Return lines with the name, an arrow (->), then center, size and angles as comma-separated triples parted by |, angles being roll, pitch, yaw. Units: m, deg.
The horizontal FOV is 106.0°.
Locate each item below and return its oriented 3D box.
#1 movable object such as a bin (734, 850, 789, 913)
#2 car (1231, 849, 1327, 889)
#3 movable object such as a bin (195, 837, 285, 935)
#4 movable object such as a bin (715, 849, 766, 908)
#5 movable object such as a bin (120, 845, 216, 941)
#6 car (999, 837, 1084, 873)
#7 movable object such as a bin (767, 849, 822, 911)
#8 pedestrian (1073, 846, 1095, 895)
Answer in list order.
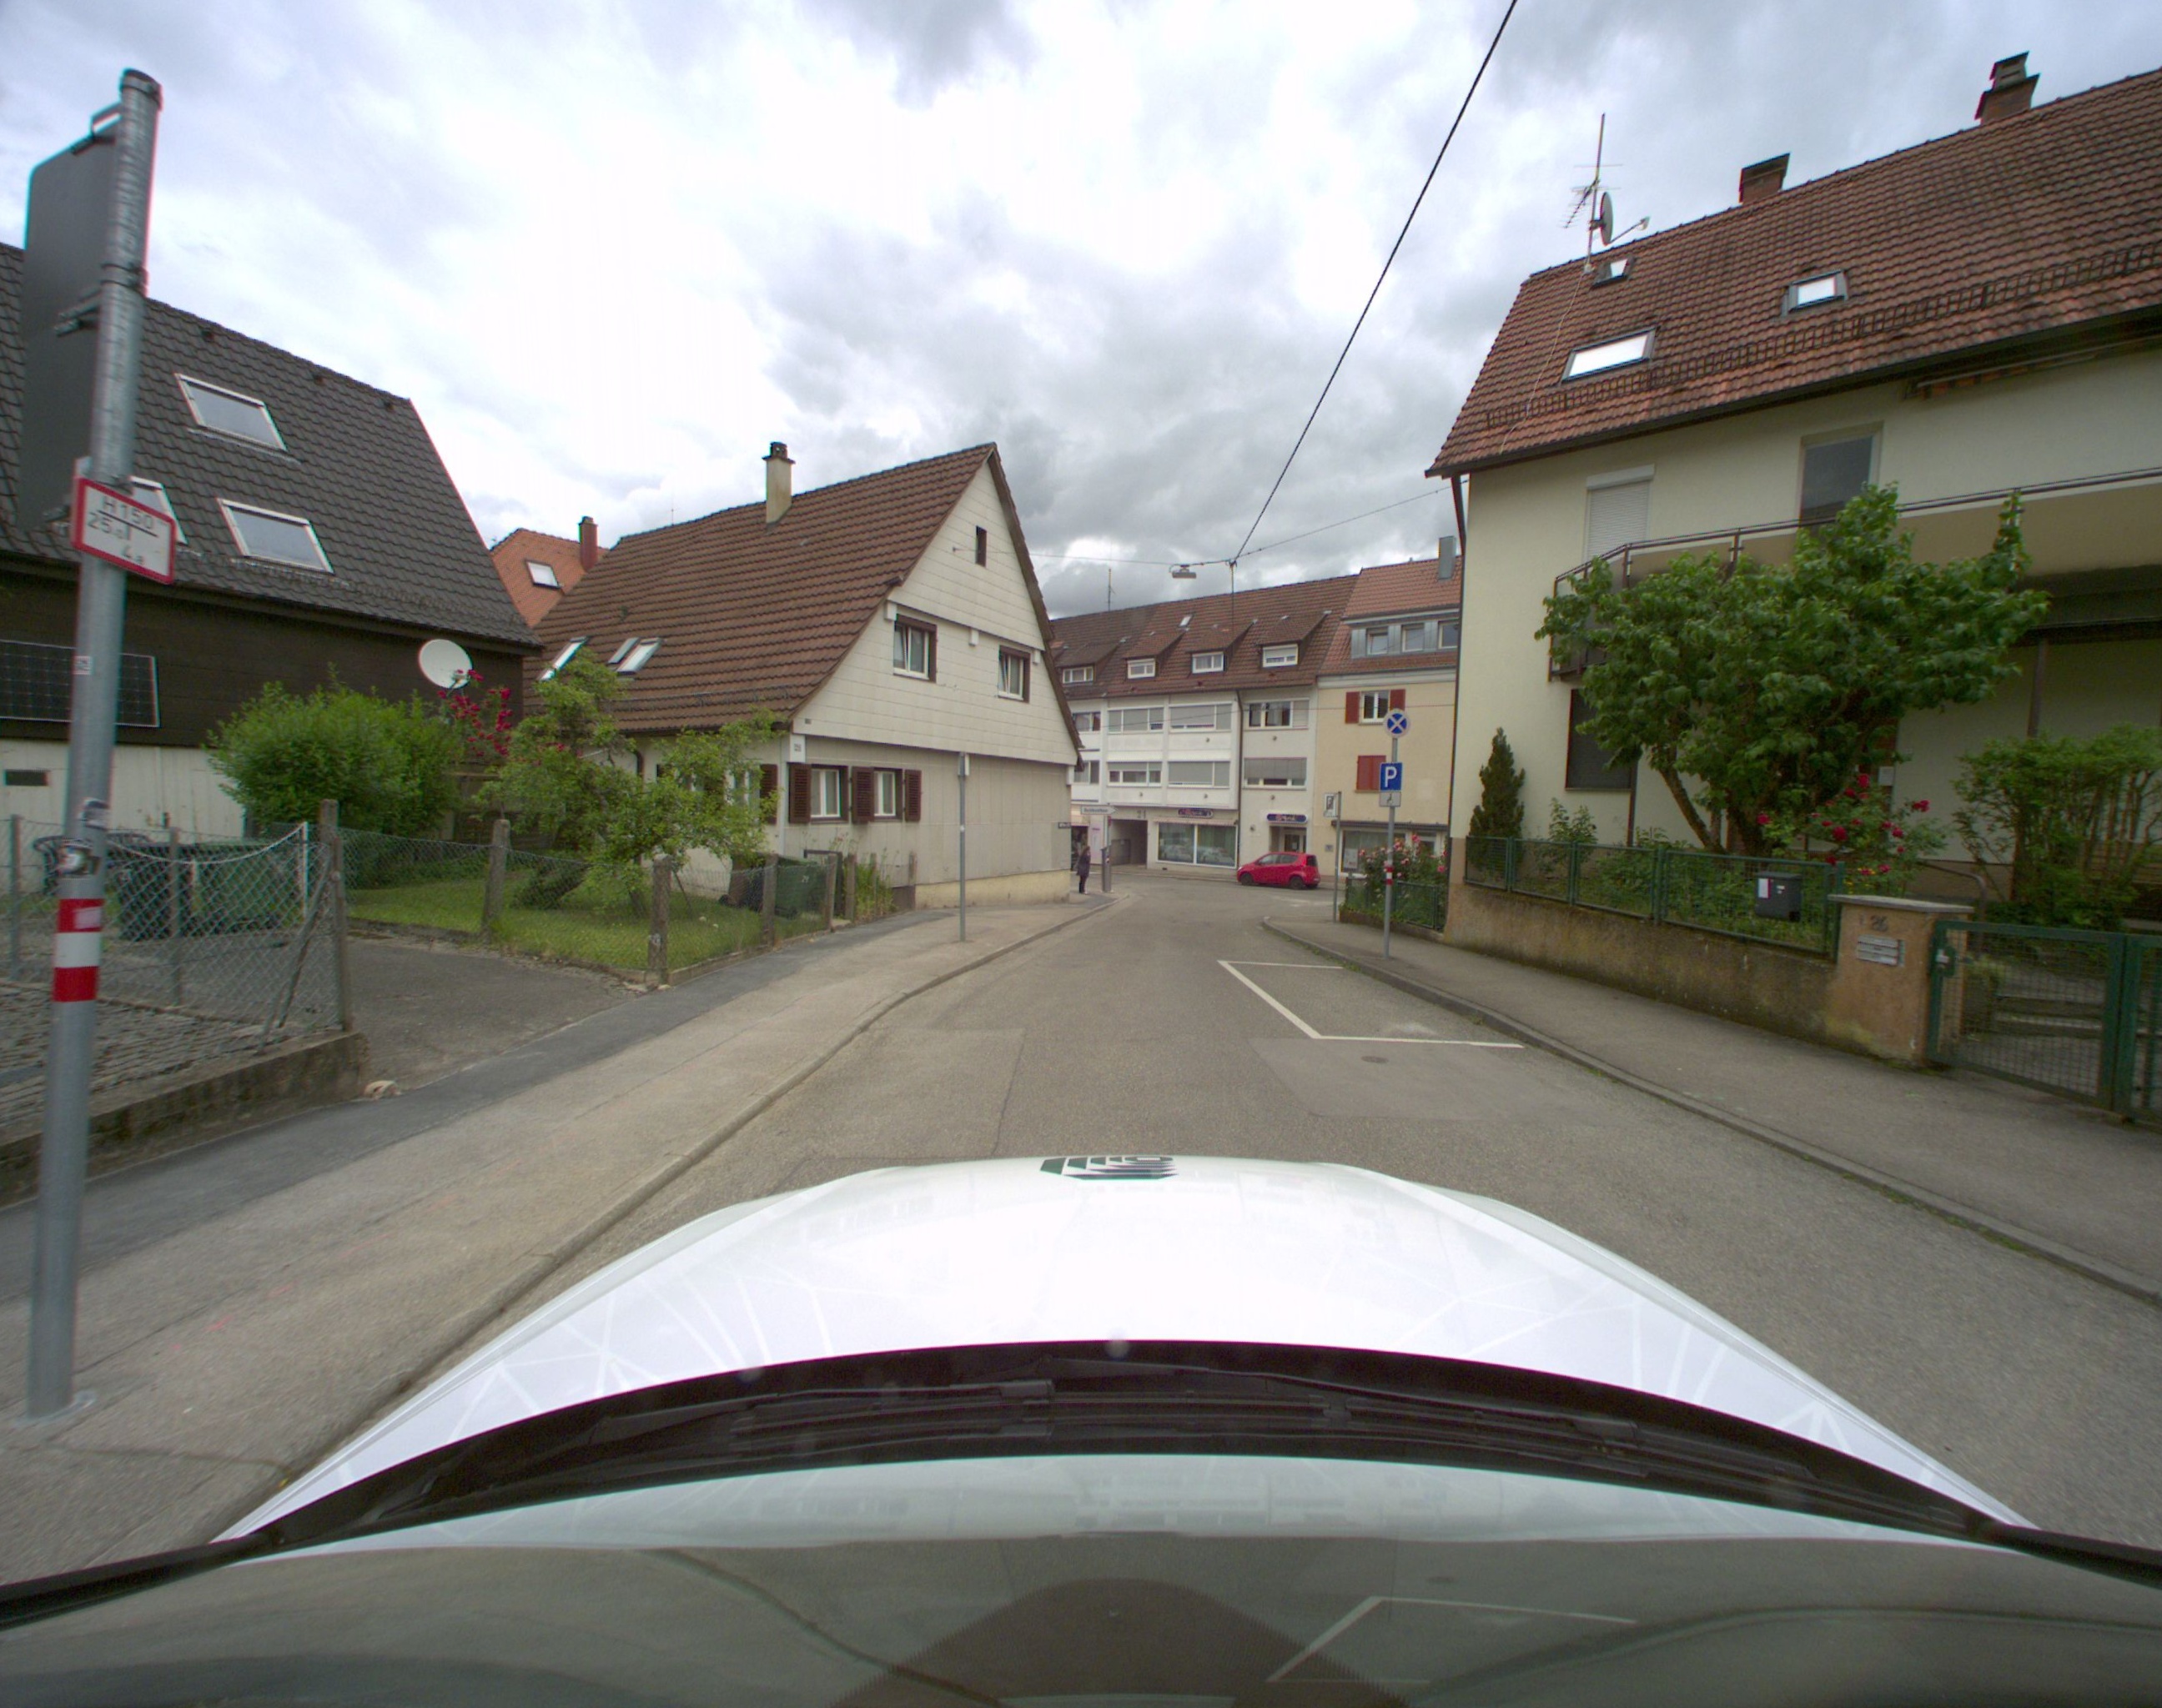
movable object such as a bin -> -4.943, 0.423, 12.608 | 0.522, 0.917, 0.493 | 5, -1, 29
car -> 8.608, 0.624, 35.520 | 3.648, 1.556, 1.708 | 3, 2, 40
movable object such as a bin -> -8.701, 0.317, 8.439 | 0.395, 0.981, 0.510 | 0, 0, 16
movable object such as a bin -> -5.394, 0.394, 12.914 | 0.490, 0.878, 0.455 | 5, -1, 29
movable object such as a bin -> -8.850, 0.363, 7.902 | 0.373, 0.893, 0.492 | 1, 0, 16
car -> -2.166, -0.006, 43.709 | 4.313, 1.779, 1.960 | 2, 2, 39
movable object such as a bin -> -4.383, 0.397, 12.477 | 0.522, 0.884, 0.493 | 5, -1, 29
pedestrian -> 0.097, 0.566, 28.310 | 0.645, 1.684, 0.603 | 2, 1, -6
